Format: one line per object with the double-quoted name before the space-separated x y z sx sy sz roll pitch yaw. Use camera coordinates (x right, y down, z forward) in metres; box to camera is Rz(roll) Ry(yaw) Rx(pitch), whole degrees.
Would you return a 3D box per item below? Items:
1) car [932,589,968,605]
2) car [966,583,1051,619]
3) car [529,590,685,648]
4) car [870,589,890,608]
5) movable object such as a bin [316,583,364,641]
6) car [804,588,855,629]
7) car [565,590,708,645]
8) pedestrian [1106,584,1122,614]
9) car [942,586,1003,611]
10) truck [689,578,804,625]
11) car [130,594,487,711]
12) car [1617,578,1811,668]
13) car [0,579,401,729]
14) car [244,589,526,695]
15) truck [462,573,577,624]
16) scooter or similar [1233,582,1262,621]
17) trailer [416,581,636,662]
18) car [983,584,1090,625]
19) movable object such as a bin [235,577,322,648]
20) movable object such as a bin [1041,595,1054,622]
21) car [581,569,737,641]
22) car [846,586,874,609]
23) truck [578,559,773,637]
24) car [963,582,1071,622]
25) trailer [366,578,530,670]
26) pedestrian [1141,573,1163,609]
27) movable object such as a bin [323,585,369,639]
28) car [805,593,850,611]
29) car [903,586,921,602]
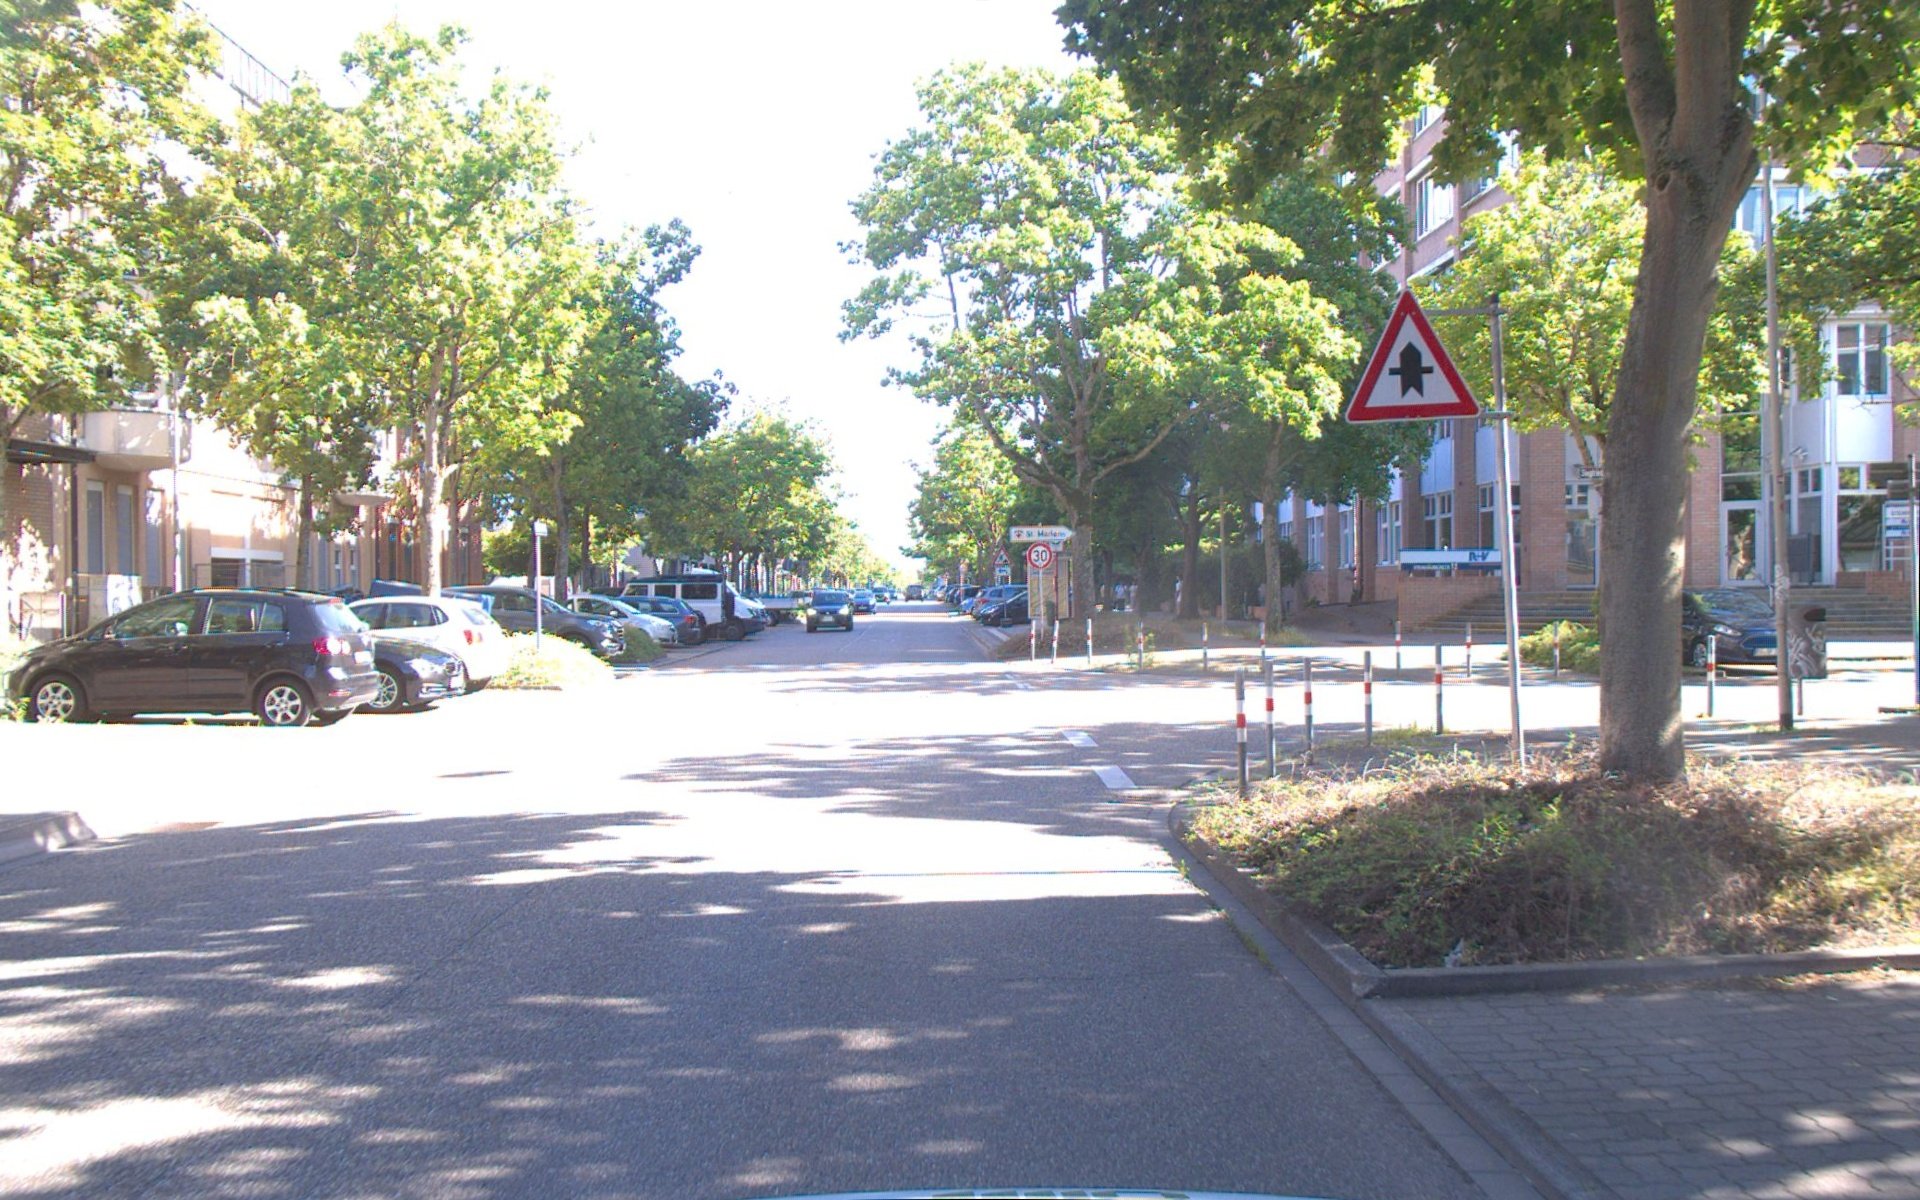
"car" -1.128 -0.318 189.922 3.911 1.823 1.997 -1 0 -7
"car" 2.556 0.032 88.365 4.317 1.646 1.911 -4 0 -3
"car" -9.396 0.498 44.252 3.755 1.486 1.733 1 0 2
"car" -7.620 -0.144 156.967 1.854 1.713 4.350 -1 0 -4
"movable object such as a bin" -18.263 0.346 48.737 1.125 1.648 1.437 -1 0 -14
"car" -5.043 0.310 64.497 1.743 1.538 3.999 -1 0 -1
"car" -9.178 0.485 47.116 3.701 1.518 1.833 1 0 0
"pedestrian" 7.692 -0.038 82.602 0.686 1.483 0.715 -1 0 -4
"car" 0.874 -0.100 118.434 4.184 1.662 1.857 -2 0 -4
"truck" -9.575 0.050 74.423 4.883 1.993 2.138 -1 0 0
"car" -8.685 0.677 22.302 4.068 1.427 1.800 1 0 -2
"car" 13.506 0.370 29.872 1.619 1.488 3.916 -1 1 -2
"car" -8.884 0.614 19.572 3.907 1.598 1.727 2 0 -2
"car" -8.712 0.621 25.273 3.679 1.477 1.754 1 1 -2
"truck" -25.426 -0.085 95.712 5.983 2.752 2.576 -1 0 -4
"scooter or similar" 10.214 0.049 58.761 0.538 1.348 1.803 1 0 -6
"trailer" -9.038 0.435 34.720 4.177 1.599 1.854 1 0 -5
"car" 2.880 0.166 62.450 3.856 1.464 1.773 -1 0 -4
"movable object such as a bin" -18.024 0.315 43.797 1.566 1.828 1.664 -1 0 0
"movable object such as a bin" 2.538 0.260 48.024 0.292 0.767 0.467 -3 0 -2
"car" -9.020 0.157 49.836 4.393 2.087 1.999 1 0 -4
"car" -6.328 -0.156 105.226 1.610 1.445 3.999 -1 0 -2
"truck" -9.407 -0.065 55.168 6.105 2.464 2.187 -1 0 -1
"car" 2.375 0.078 69.705 4.270 1.625 1.936 -1 0 -8
"trailer" -9.982 0.444 32.368 2.670 1.717 1.712 1 0 -1
"pedestrian" 9.531 -0.430 82.131 0.684 1.740 0.918 -4 1 -12
"movable object such as a bin" -18.550 0.344 50.017 1.125 1.590 1.240 -1 0 -14
"car" -11.544 0.178 144.102 3.815 1.489 1.857 -1 0 -3
"car" -5.122 -0.686 176.977 1.894 1.625 4.365 -1 0 -2
